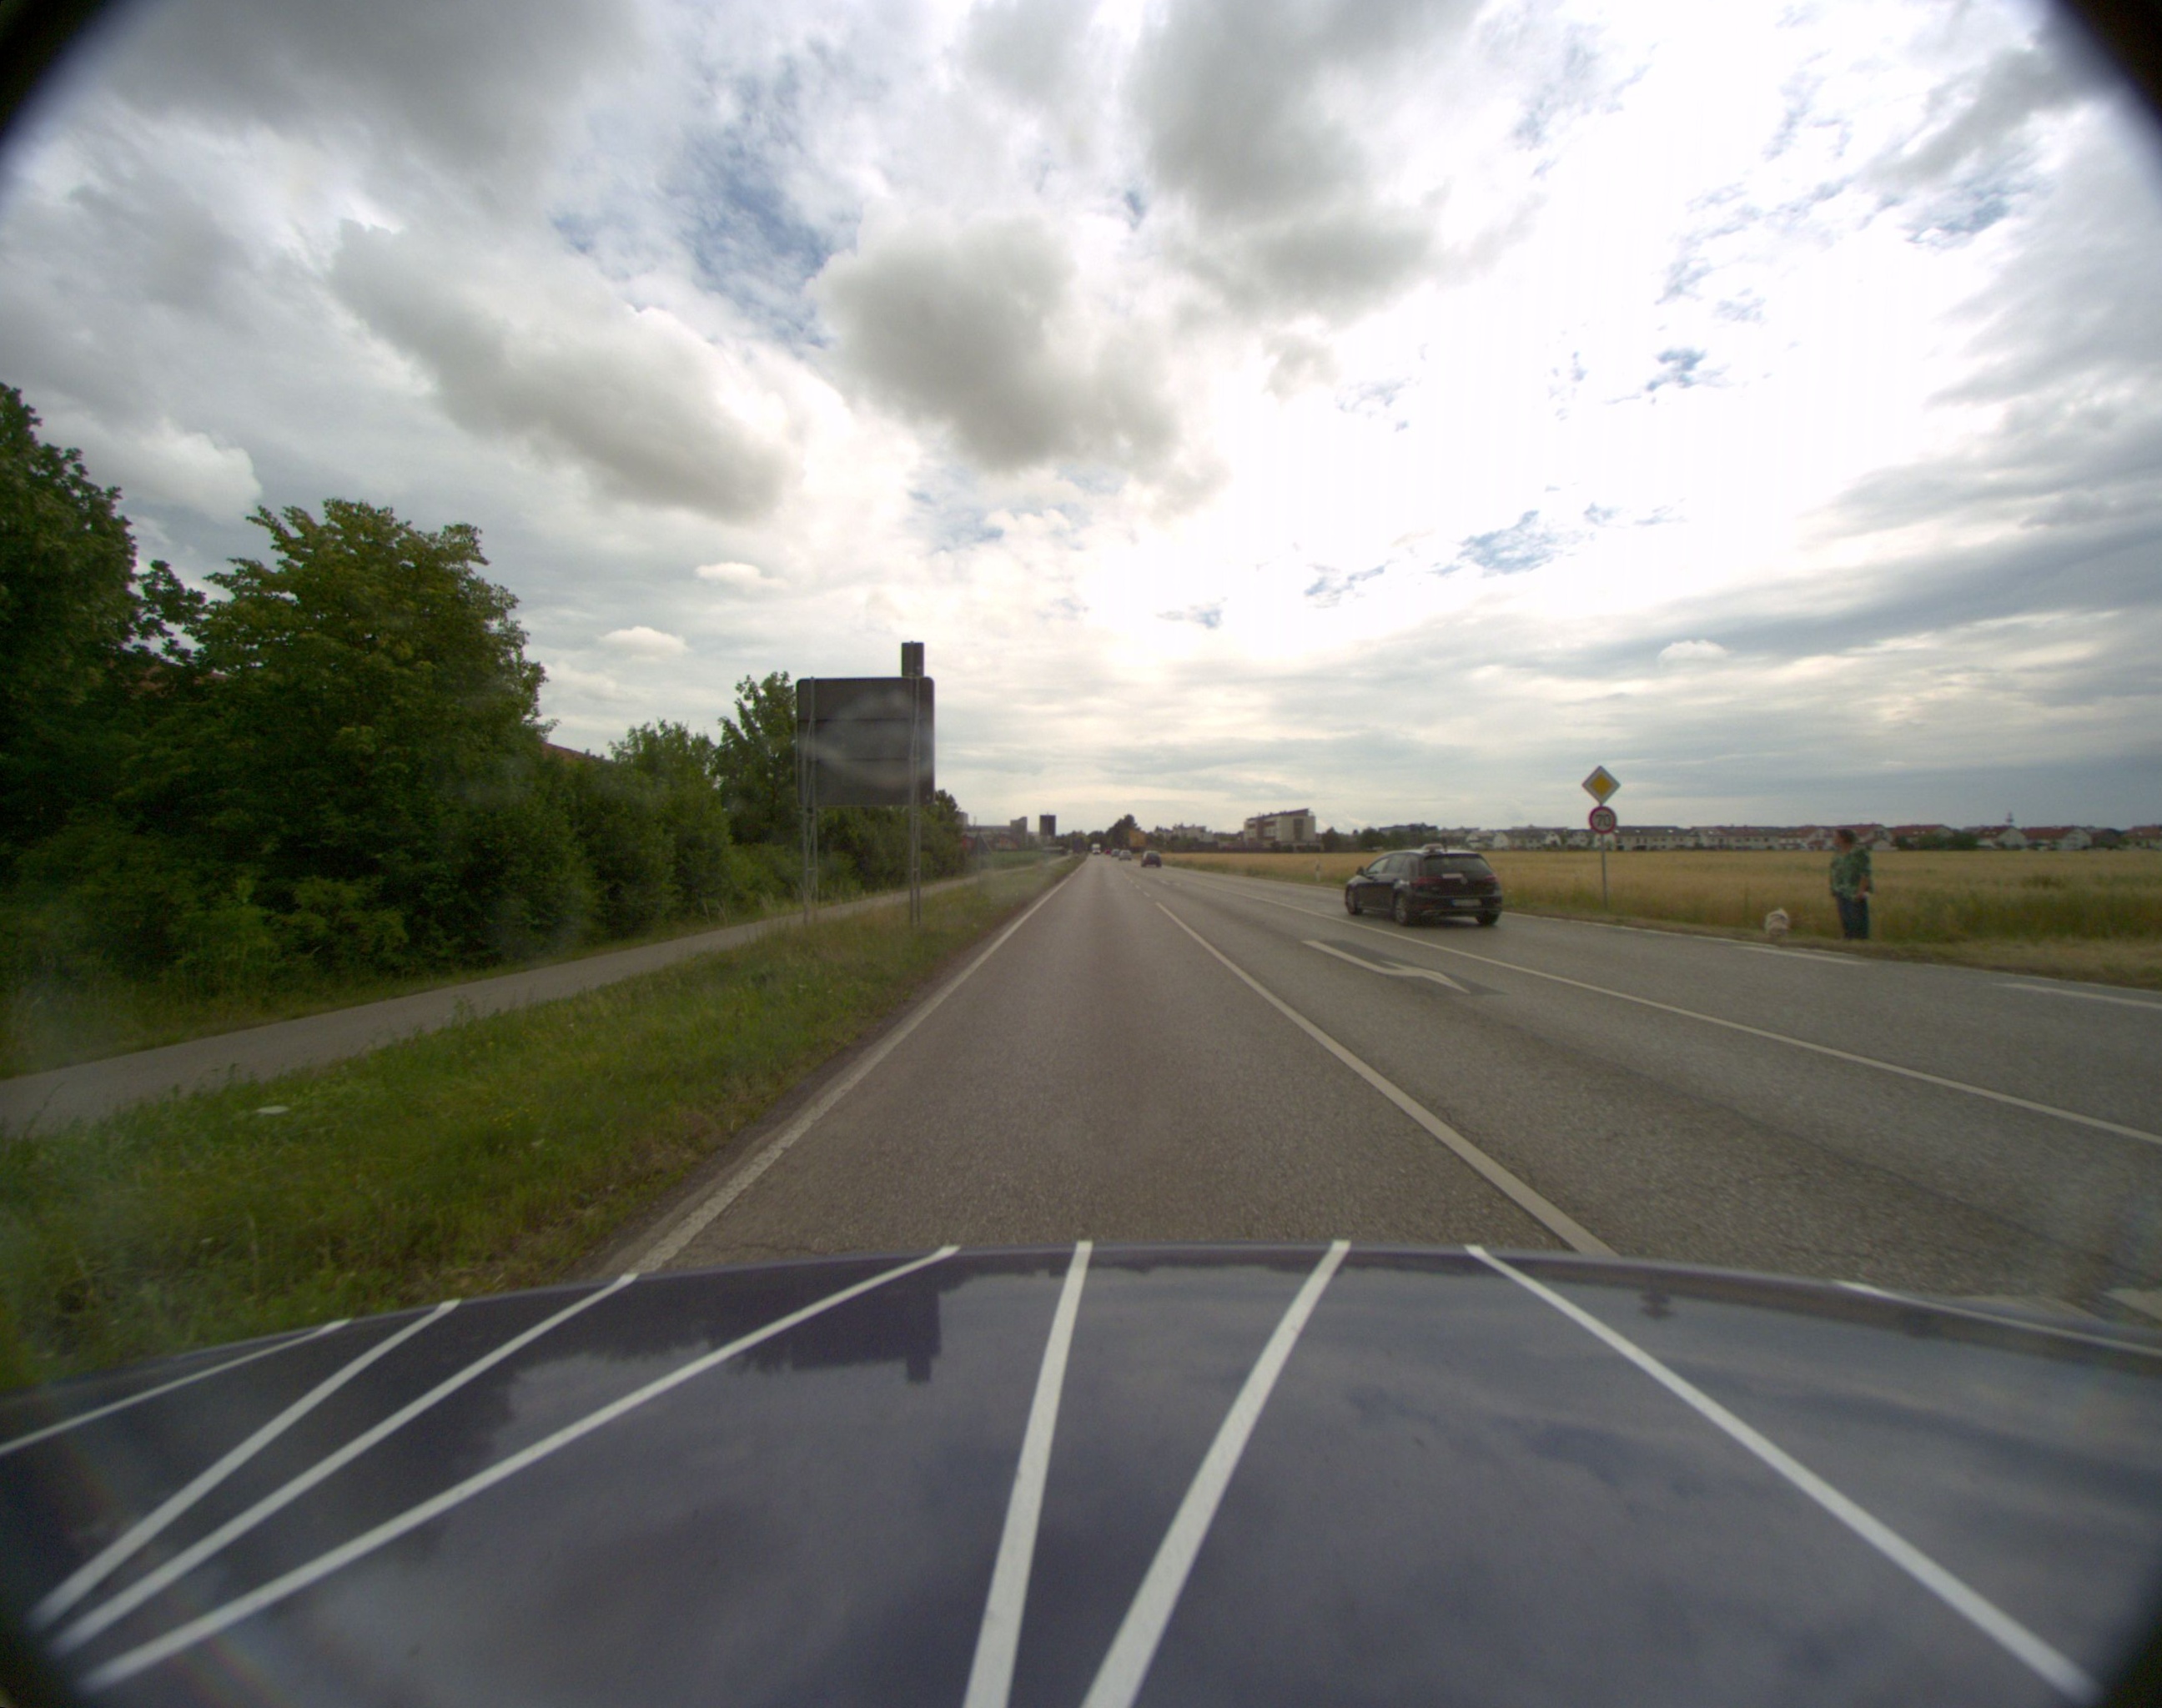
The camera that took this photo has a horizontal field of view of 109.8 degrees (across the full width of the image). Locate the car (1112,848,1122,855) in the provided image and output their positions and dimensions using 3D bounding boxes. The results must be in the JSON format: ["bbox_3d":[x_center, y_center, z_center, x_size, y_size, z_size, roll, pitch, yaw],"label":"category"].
[{"bbox_3d":[7.580,-0.502,159.254,1.856,1.480,4.263,0,1,0],"label":"car"}]

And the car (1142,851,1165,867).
[{"bbox_3d":[6.828,0.464,71.641,1.740,1.450,4.131,-1,1,0],"label":"car"}]

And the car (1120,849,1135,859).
[{"bbox_3d":[7.008,-0.008,114.840,1.856,1.480,4.263,0,1,-1],"label":"car"}]

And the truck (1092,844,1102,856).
[{"bbox_3d":[4.949,-1.301,234.458,2.813,3.588,11.219,0,0,2],"label":"truck"}]

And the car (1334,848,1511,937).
[{"bbox_3d":[6.707,0.657,15.488,1.683,1.512,4.395,-2,1,1],"label":"car"}]

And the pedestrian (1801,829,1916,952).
[{"bbox_3d":[10.622,0.472,10.412,0.594,1.596,0.866,2,1,-1],"label":"pedestrian"}]
